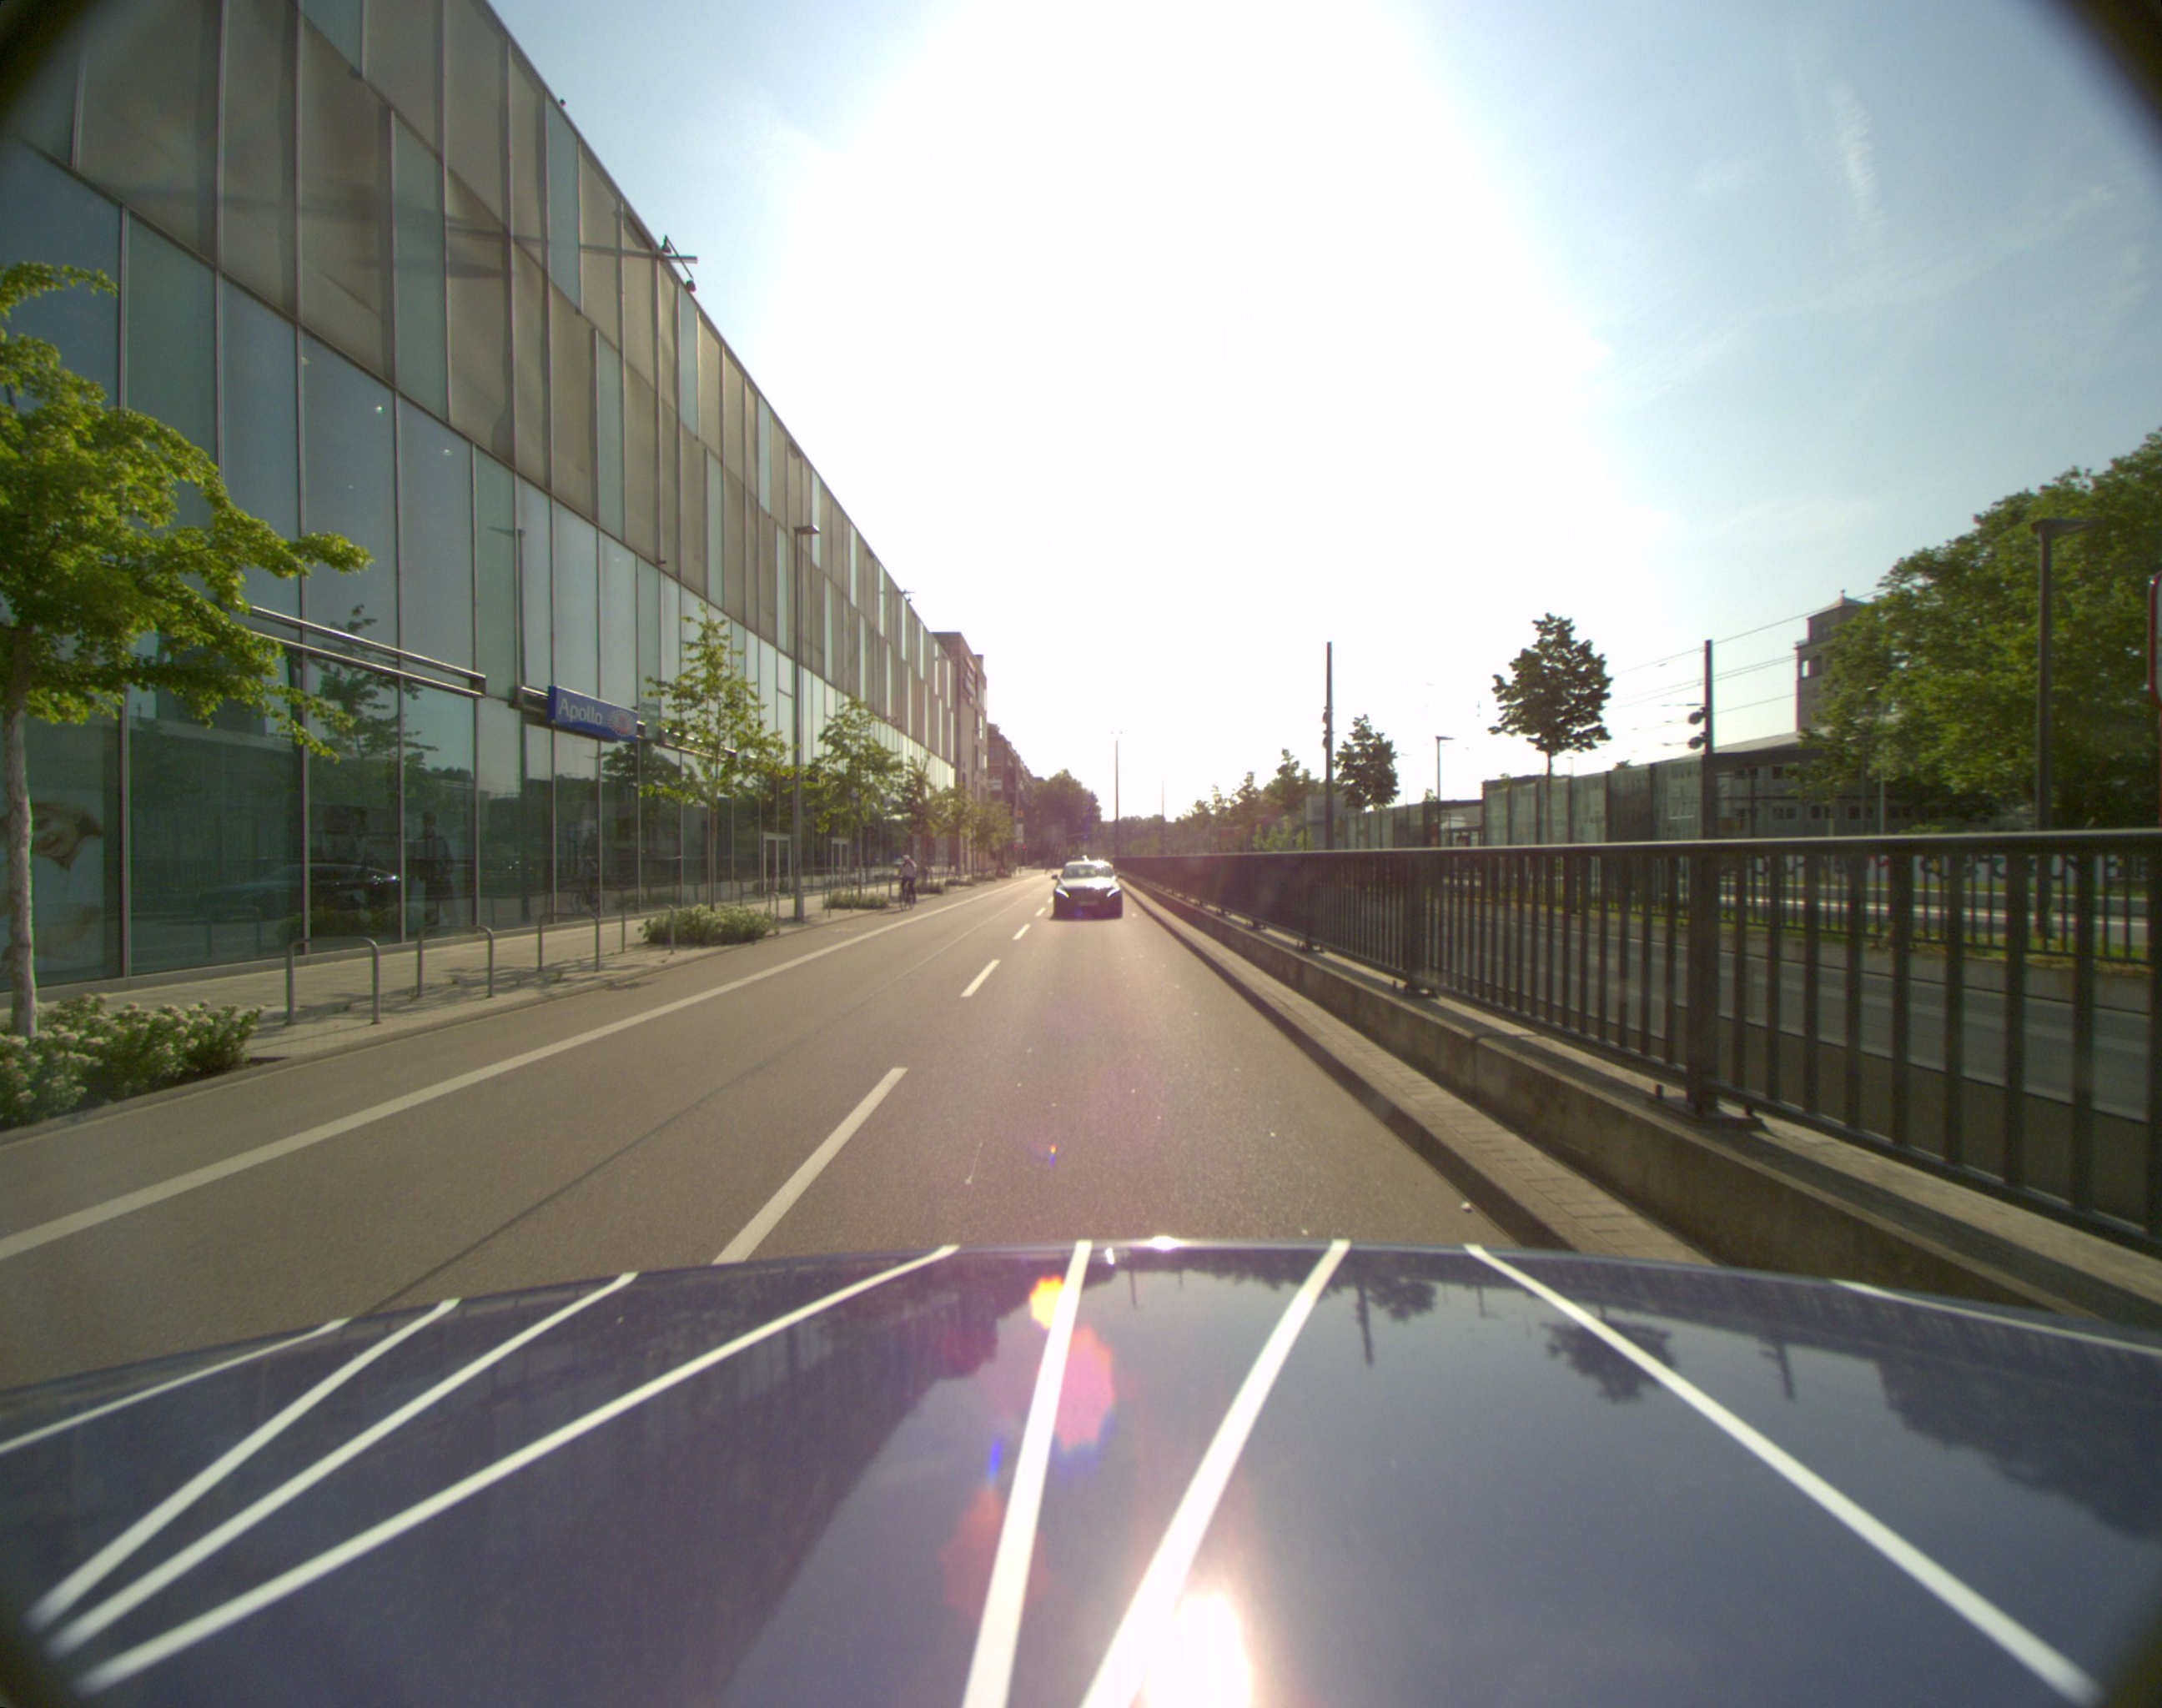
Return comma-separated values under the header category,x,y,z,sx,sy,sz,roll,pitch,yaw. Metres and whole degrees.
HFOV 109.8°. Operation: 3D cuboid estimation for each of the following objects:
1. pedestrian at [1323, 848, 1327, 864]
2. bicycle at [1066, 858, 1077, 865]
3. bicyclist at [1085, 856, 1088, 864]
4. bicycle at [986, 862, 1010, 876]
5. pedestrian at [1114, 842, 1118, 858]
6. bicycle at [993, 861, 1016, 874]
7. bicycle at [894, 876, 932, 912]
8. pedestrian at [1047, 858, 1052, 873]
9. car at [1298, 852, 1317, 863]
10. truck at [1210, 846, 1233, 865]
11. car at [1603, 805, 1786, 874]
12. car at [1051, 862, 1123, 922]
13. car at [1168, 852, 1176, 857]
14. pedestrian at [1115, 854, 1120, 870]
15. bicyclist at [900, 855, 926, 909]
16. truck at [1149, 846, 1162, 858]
category,x,y,z,sx,sy,sz,roll,pitch,yaw
pedestrian,25.474,0.213,79.405,0.371,1.666,0.641,-1,1,18
bicycle,-1.733,1.374,134.479,1.831,1.181,0.537,1,0,6
bicyclist,1.085,1.160,149.325,0.612,1.504,0.813,-1,0,-9
bicycle,-6.875,1.256,63.122,1.882,1.103,0.490,-1,0,3
pedestrian,3.735,-0.401,80.936,0.468,1.640,0.777,-1,0,1
bicycle,-6.766,1.187,67.298,1.843,1.106,0.687,-2,0,3
bicycle,-5.474,1.289,24.926,0.662,1.110,2.051,0,0,4
pedestrian,-3.347,1.249,81.899,0.468,1.640,0.777,-1,0,1
car,30.517,0.515,102.637,1.600,1.455,3.434,0,0,1
truck,27.822,0.358,150.927,3.029,3.565,8.891,0,0,1
car,34.696,-0.737,43.626,3.062,3.492,9.233,-1,0,0
car,0.287,0.968,21.506,1.716,1.429,5.058,-1,0,4
car,27.355,0.196,228.708,1.644,1.592,3.998,-1,0,-4
pedestrian,3.785,0.816,79.476,0.468,1.640,0.777,-1,0,1
bicyclist,-5.470,0.912,24.770,0.652,1.738,0.769,0,0,4
truck,25.034,-0.605,256.783,2.980,3.786,10.420,0,0,-3
